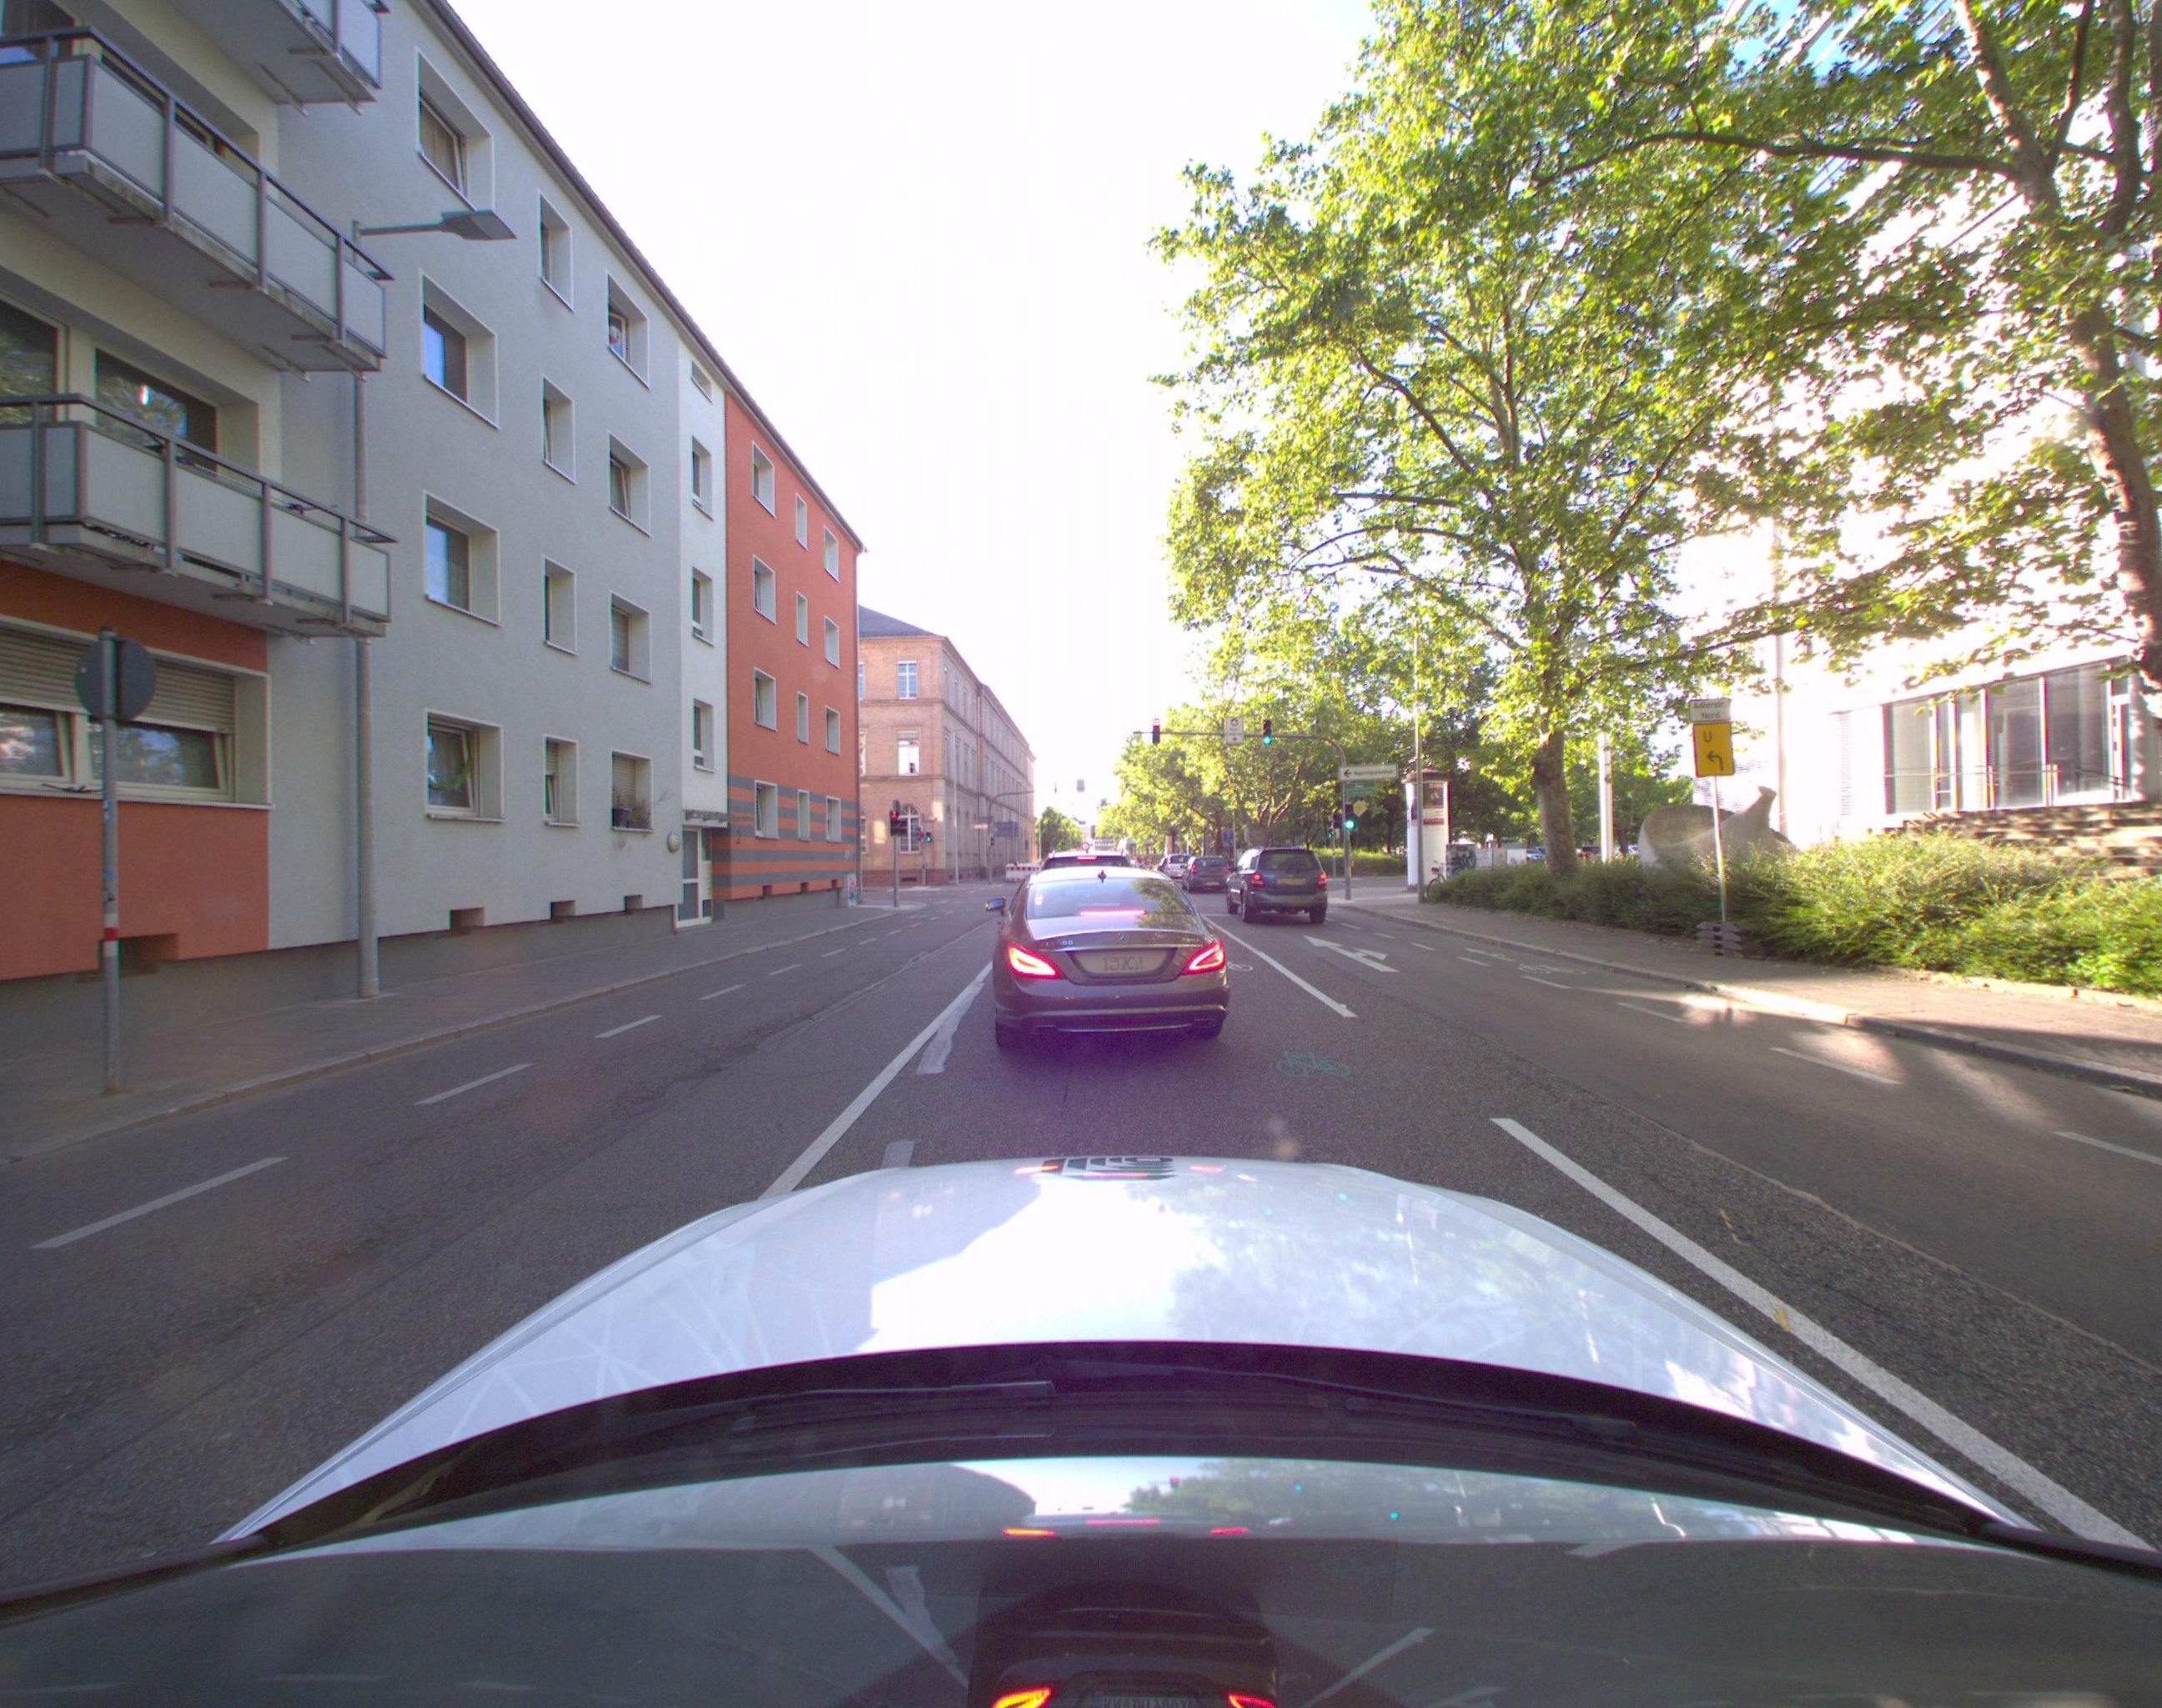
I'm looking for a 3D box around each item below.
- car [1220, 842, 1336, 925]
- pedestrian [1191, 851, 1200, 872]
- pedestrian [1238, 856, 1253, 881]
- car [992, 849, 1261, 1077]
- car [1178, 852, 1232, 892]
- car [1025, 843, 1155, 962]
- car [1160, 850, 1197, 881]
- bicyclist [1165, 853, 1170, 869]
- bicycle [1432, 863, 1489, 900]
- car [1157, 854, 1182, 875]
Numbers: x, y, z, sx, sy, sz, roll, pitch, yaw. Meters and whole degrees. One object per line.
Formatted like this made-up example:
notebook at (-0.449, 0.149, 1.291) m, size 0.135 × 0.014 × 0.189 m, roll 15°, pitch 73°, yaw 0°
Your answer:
car at (4.625, 0.634, 19.793) m, size 1.854 × 1.764 × 4.483 m, roll -1°, pitch 0°, yaw 2°
pedestrian at (9.754, 0.626, 69.290) m, size 0.634 × 1.760 × 0.698 m, roll 0°, pitch -1°, yaw -2°
pedestrian at (10.415, 0.912, 51.650) m, size 0.635 × 1.545 × 0.907 m, roll 0°, pitch -1°, yaw -8°
car at (0.143, 0.739, 7.589) m, size 1.859 × 1.519 × 3.992 m, roll -1°, pitch 0°, yaw -6°
car at (5.008, 0.691, 33.377) m, size 1.698 × 1.519 × 4.002 m, roll -1°, pitch 0°, yaw 2°
car at (0.191, 0.699, 13.724) m, size 1.854 × 1.682 × 4.002 m, roll -1°, pitch 0°, yaw 2°
car at (5.519, 0.655, 46.466) m, size 1.725 × 1.662 × 3.682 m, roll 0°, pitch -1°, yaw 2°
bicyclist at (11.139, 0.862, 104.896) m, size 0.593 × 2.039 × 0.566 m, roll 0°, pitch -1°, yaw -2°
bicycle at (10.983, 0.783, 23.563) m, size 1.895 × 1.028 × 0.635 m, roll 0°, pitch -1°, yaw -36°
car at (6.822, 0.824, 62.962) m, size 1.595 × 1.549 × 3.682 m, roll 0°, pitch -1°, yaw 2°
